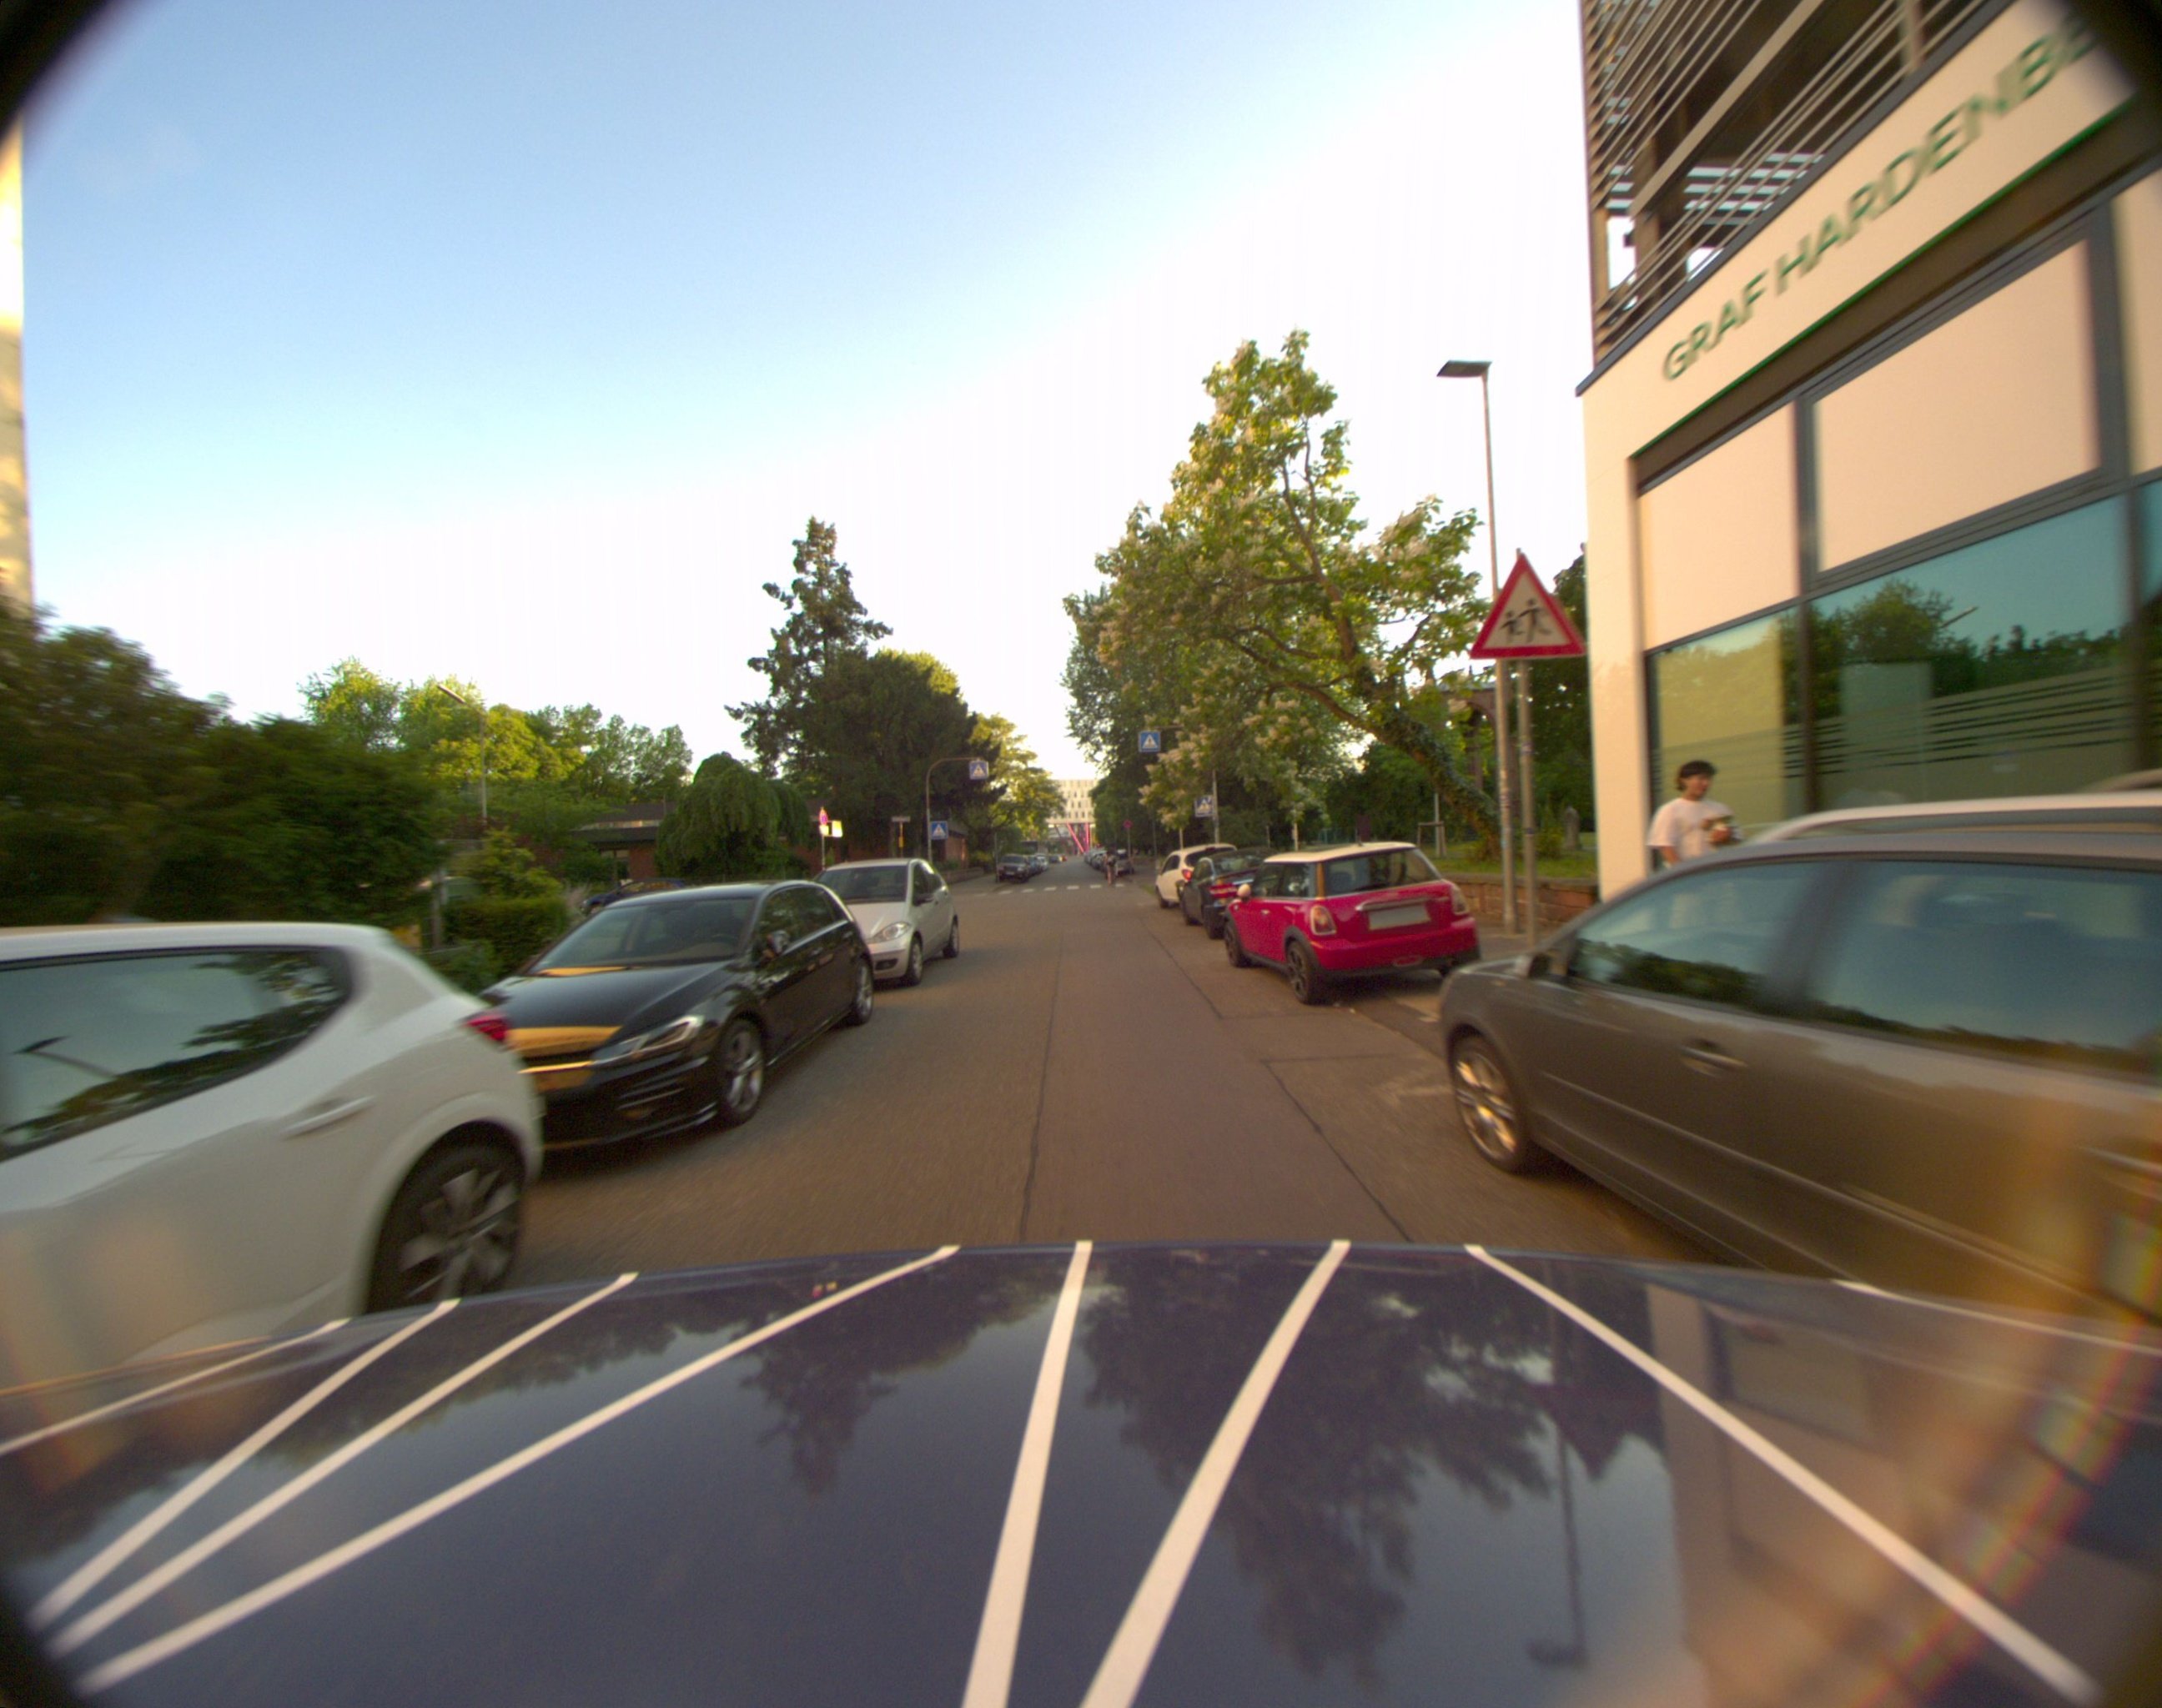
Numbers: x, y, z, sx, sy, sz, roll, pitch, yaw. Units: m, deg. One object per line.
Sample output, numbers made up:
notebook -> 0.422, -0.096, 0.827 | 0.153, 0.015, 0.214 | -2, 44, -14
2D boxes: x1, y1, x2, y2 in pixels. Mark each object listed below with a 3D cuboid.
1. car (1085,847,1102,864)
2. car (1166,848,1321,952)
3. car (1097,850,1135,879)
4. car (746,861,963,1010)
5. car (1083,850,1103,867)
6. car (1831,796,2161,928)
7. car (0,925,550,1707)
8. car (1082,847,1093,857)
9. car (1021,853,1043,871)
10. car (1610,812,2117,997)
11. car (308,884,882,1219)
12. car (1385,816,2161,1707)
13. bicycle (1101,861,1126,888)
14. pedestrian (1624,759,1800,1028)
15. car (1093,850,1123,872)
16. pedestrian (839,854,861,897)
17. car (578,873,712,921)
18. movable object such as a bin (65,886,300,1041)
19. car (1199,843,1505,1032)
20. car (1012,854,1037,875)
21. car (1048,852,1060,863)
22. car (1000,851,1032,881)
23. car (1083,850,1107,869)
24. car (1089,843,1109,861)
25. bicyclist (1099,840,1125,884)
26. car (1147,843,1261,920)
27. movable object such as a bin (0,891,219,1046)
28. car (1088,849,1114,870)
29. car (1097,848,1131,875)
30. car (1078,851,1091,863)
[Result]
car -> 1.662, 0.161, 103.333 | 1.786, 2.025, 3.883 | -8, 0, -3
car -> 2.786, 0.716, 14.091 | 1.666, 1.408, 4.413 | -8, 0, -1
car -> 2.118, 0.613, 46.698 | 1.786, 1.442, 3.883 | -8, 0, -3
car -> -2.871, 0.950, 10.580 | 1.814, 1.566, 3.884 | -3, 0, -1
car -> 1.287, 0.466, 83.458 | 1.786, 1.563, 3.883 | -8, 0, -3
car -> 13.509, 0.053, 10.828 | 1.702, 1.552, 3.919 | -3, 0, -1
car -> -3.009, 1.022, 1.001 | 1.814, 1.408, 3.895 | -3, 0, 0
car -> 1.215, -0.372, 146.830 | 1.786, 1.772, 4.011 | -8, 0, -3
car -> -4.073, 0.660, 63.657 | 1.786, 1.491, 3.883 | 1, 0, -3
car -> 8.091, 0.432, 8.476 | 1.597, 1.514, 3.876 | -3, 0, -1
car -> -2.914, 1.049, 5.754 | 1.721, 1.411, 4.027 | -3, 0, -1
car -> 2.549, 0.739, 2.152 | 1.666, 1.489, 3.884 | -8, 0, 0
bicycle -> 1.345, 0.843, 31.934 | 0.761, 1.090, 1.863 | -1, 0, -6
pedestrian -> 4.676, 0.279, 5.675 | 0.723, 1.867, 0.620 | -3, 0, 1
car -> 2.048, 0.527, 58.492 | 1.786, 1.468, 3.883 | -8, 0, -3
pedestrian -> -9.474, 0.886, 31.132 | 0.826, 1.716, 0.860 | 1, 1, -19
car -> -15.717, 1.519, 27.563 | 3.790, 1.476, 1.722 | -3, 0, -9
movable object such as a bin -> -9.318, 1.078, 7.969 | 0.879, 1.407, 1.300 | -3, 0, -5
car -> 2.650, 0.726, 8.508 | 1.666, 1.402, 3.926 | -8, 0, -4
car -> -4.277, 0.770, 58.210 | 1.786, 1.491, 3.883 | 1, 0, -3
car -> -4.830, 0.613, 136.315 | 1.999, 1.739, 3.999 | -4, 0, -3
car -> -3.970, 0.699, 46.732 | 1.786, 1.743, 3.883 | -1, 0, -3
car -> 1.330, 0.529, 72.338 | 1.786, 1.563, 3.883 | -8, 0, -3
car -> 2.226, -0.250, 93.308 | 1.965, 1.826, 3.883 | -8, 0, -3
bicyclist -> 1.283, 0.345, 31.884 | 0.861, 1.797, 1.016 | -3, 0, -6
car -> 2.880, 0.625, 18.644 | 1.666, 1.505, 3.882 | -6, 0, -6
movable object such as a bin -> -10.409, 1.145, 7.969 | 1.186, 1.407, 1.300 | -3, 0, -5
car -> 1.730, 0.474, 67.016 | 1.786, 1.563, 3.883 | -8, 0, -3
car -> 2.201, 0.497, 51.493 | 1.786, 1.568, 3.883 | -8, 0, -3
car -> 0.537, 0.578, 129.246 | 1.786, 1.772, 4.011 | -8, 0, -3
